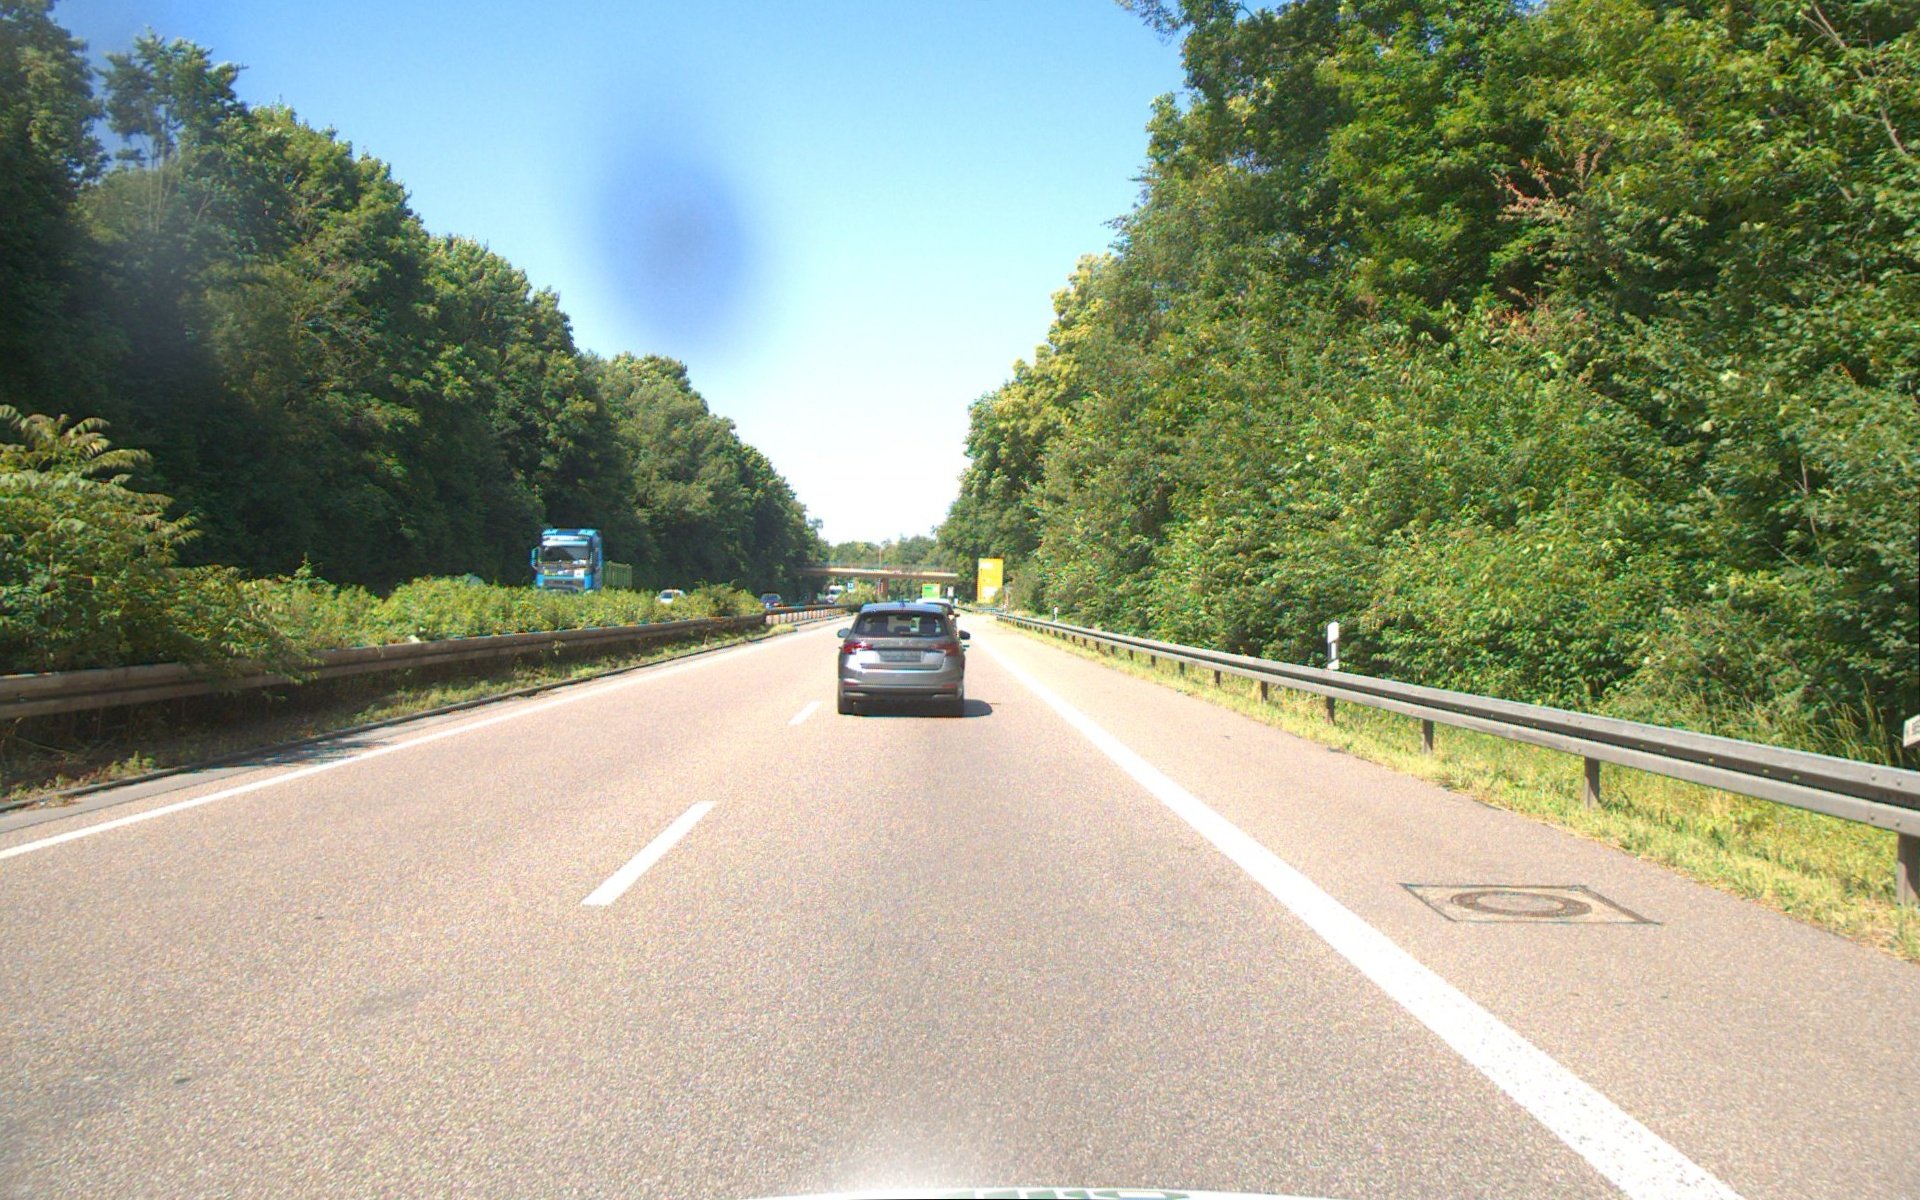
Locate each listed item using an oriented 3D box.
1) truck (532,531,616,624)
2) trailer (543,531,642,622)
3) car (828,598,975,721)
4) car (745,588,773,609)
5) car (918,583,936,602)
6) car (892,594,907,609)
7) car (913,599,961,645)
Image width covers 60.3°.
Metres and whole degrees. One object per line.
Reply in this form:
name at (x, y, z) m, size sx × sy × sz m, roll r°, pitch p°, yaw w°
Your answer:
truck at (-16.299, -0.928, 70.129) m, size 2.592 × 3.771 × 3.999 m, roll 1°, pitch 0°, yaw -1°
trailer at (-16.292, -0.982, 73.868) m, size 2.633 × 3.777 × 7.982 m, roll 1°, pitch 0°, yaw -1°
car at (-0.713, 0.740, 22.547) m, size 1.802 × 1.497 × 3.623 m, roll 1°, pitch 0°, yaw 1°
car at (-15.293, -0.119, 125.837) m, size 1.638 × 1.499 × 3.623 m, roll 1°, pitch 0°, yaw 1°
car at (-4.828, -1.122, 242.948) m, size 2.693 × 2.700 × 3.999 m, roll 1°, pitch 0°, yaw -1°
car at (-8.209, 0.236, 223.656) m, size 1.953 × 2.049 × 3.999 m, roll 1°, pitch 0°, yaw -1°
car at (-0.758, 0.707, 55.570) m, size 1.491 × 1.472 × 3.340 m, roll 1°, pitch 0°, yaw 1°
